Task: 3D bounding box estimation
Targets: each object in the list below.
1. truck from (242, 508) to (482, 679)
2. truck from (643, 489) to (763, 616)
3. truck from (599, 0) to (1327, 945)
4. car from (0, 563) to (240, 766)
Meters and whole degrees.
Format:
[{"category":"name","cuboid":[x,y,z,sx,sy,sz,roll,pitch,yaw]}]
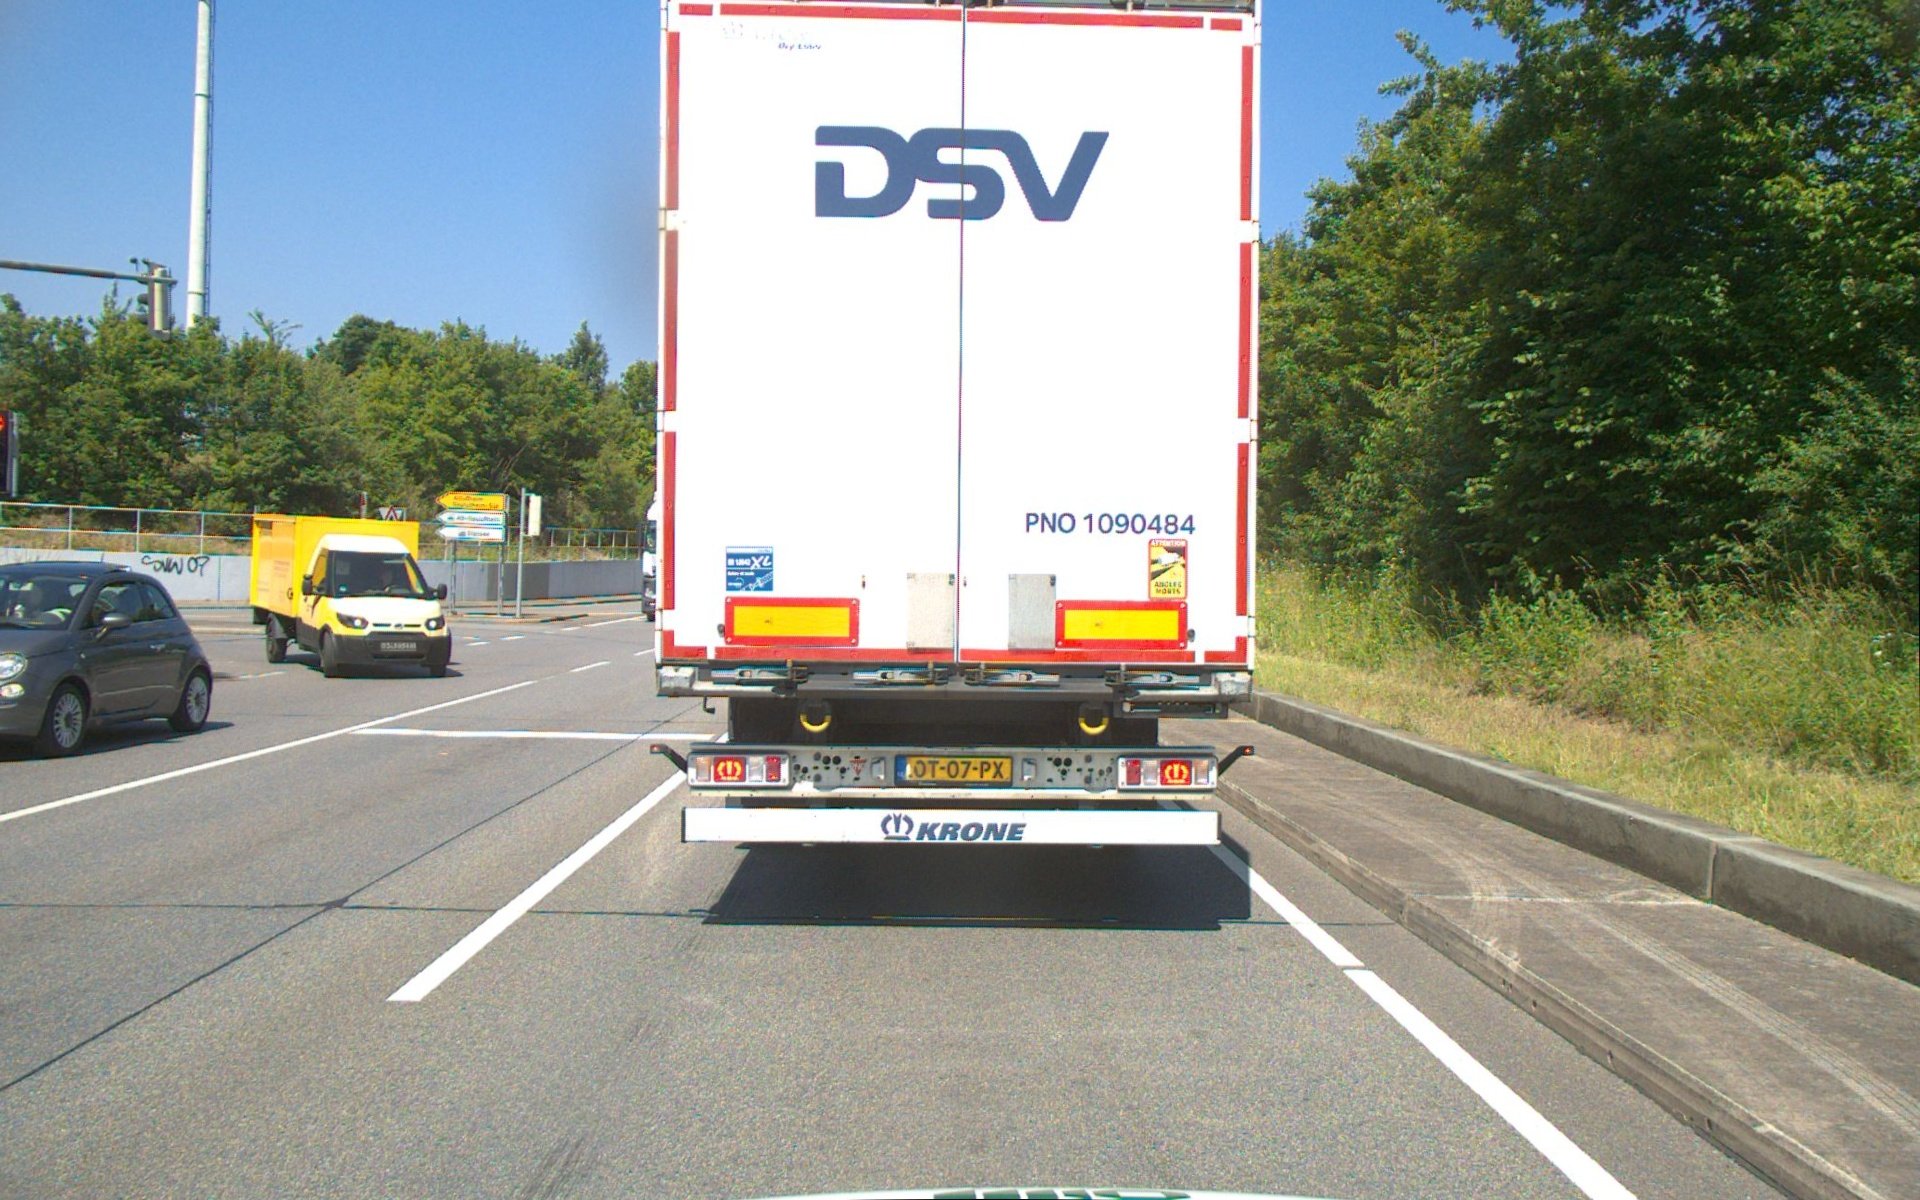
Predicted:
[{"category":"truck","cuboid":[-9.335,-0.157,25.441,1.962,2.314,5.950,1,1,-35]},{"category":"truck","cuboid":[-8.573,-1.566,56.609,2.305,3.815,12.624,1,1,-1]},{"category":"truck","cuboid":[-0.083,-1.004,11.630,2.890,4.648,9.860,1,1,-1]},{"category":"car","cuboid":[-7.691,0.445,14.039,1.554,1.495,3.600,1,1,0]}]
